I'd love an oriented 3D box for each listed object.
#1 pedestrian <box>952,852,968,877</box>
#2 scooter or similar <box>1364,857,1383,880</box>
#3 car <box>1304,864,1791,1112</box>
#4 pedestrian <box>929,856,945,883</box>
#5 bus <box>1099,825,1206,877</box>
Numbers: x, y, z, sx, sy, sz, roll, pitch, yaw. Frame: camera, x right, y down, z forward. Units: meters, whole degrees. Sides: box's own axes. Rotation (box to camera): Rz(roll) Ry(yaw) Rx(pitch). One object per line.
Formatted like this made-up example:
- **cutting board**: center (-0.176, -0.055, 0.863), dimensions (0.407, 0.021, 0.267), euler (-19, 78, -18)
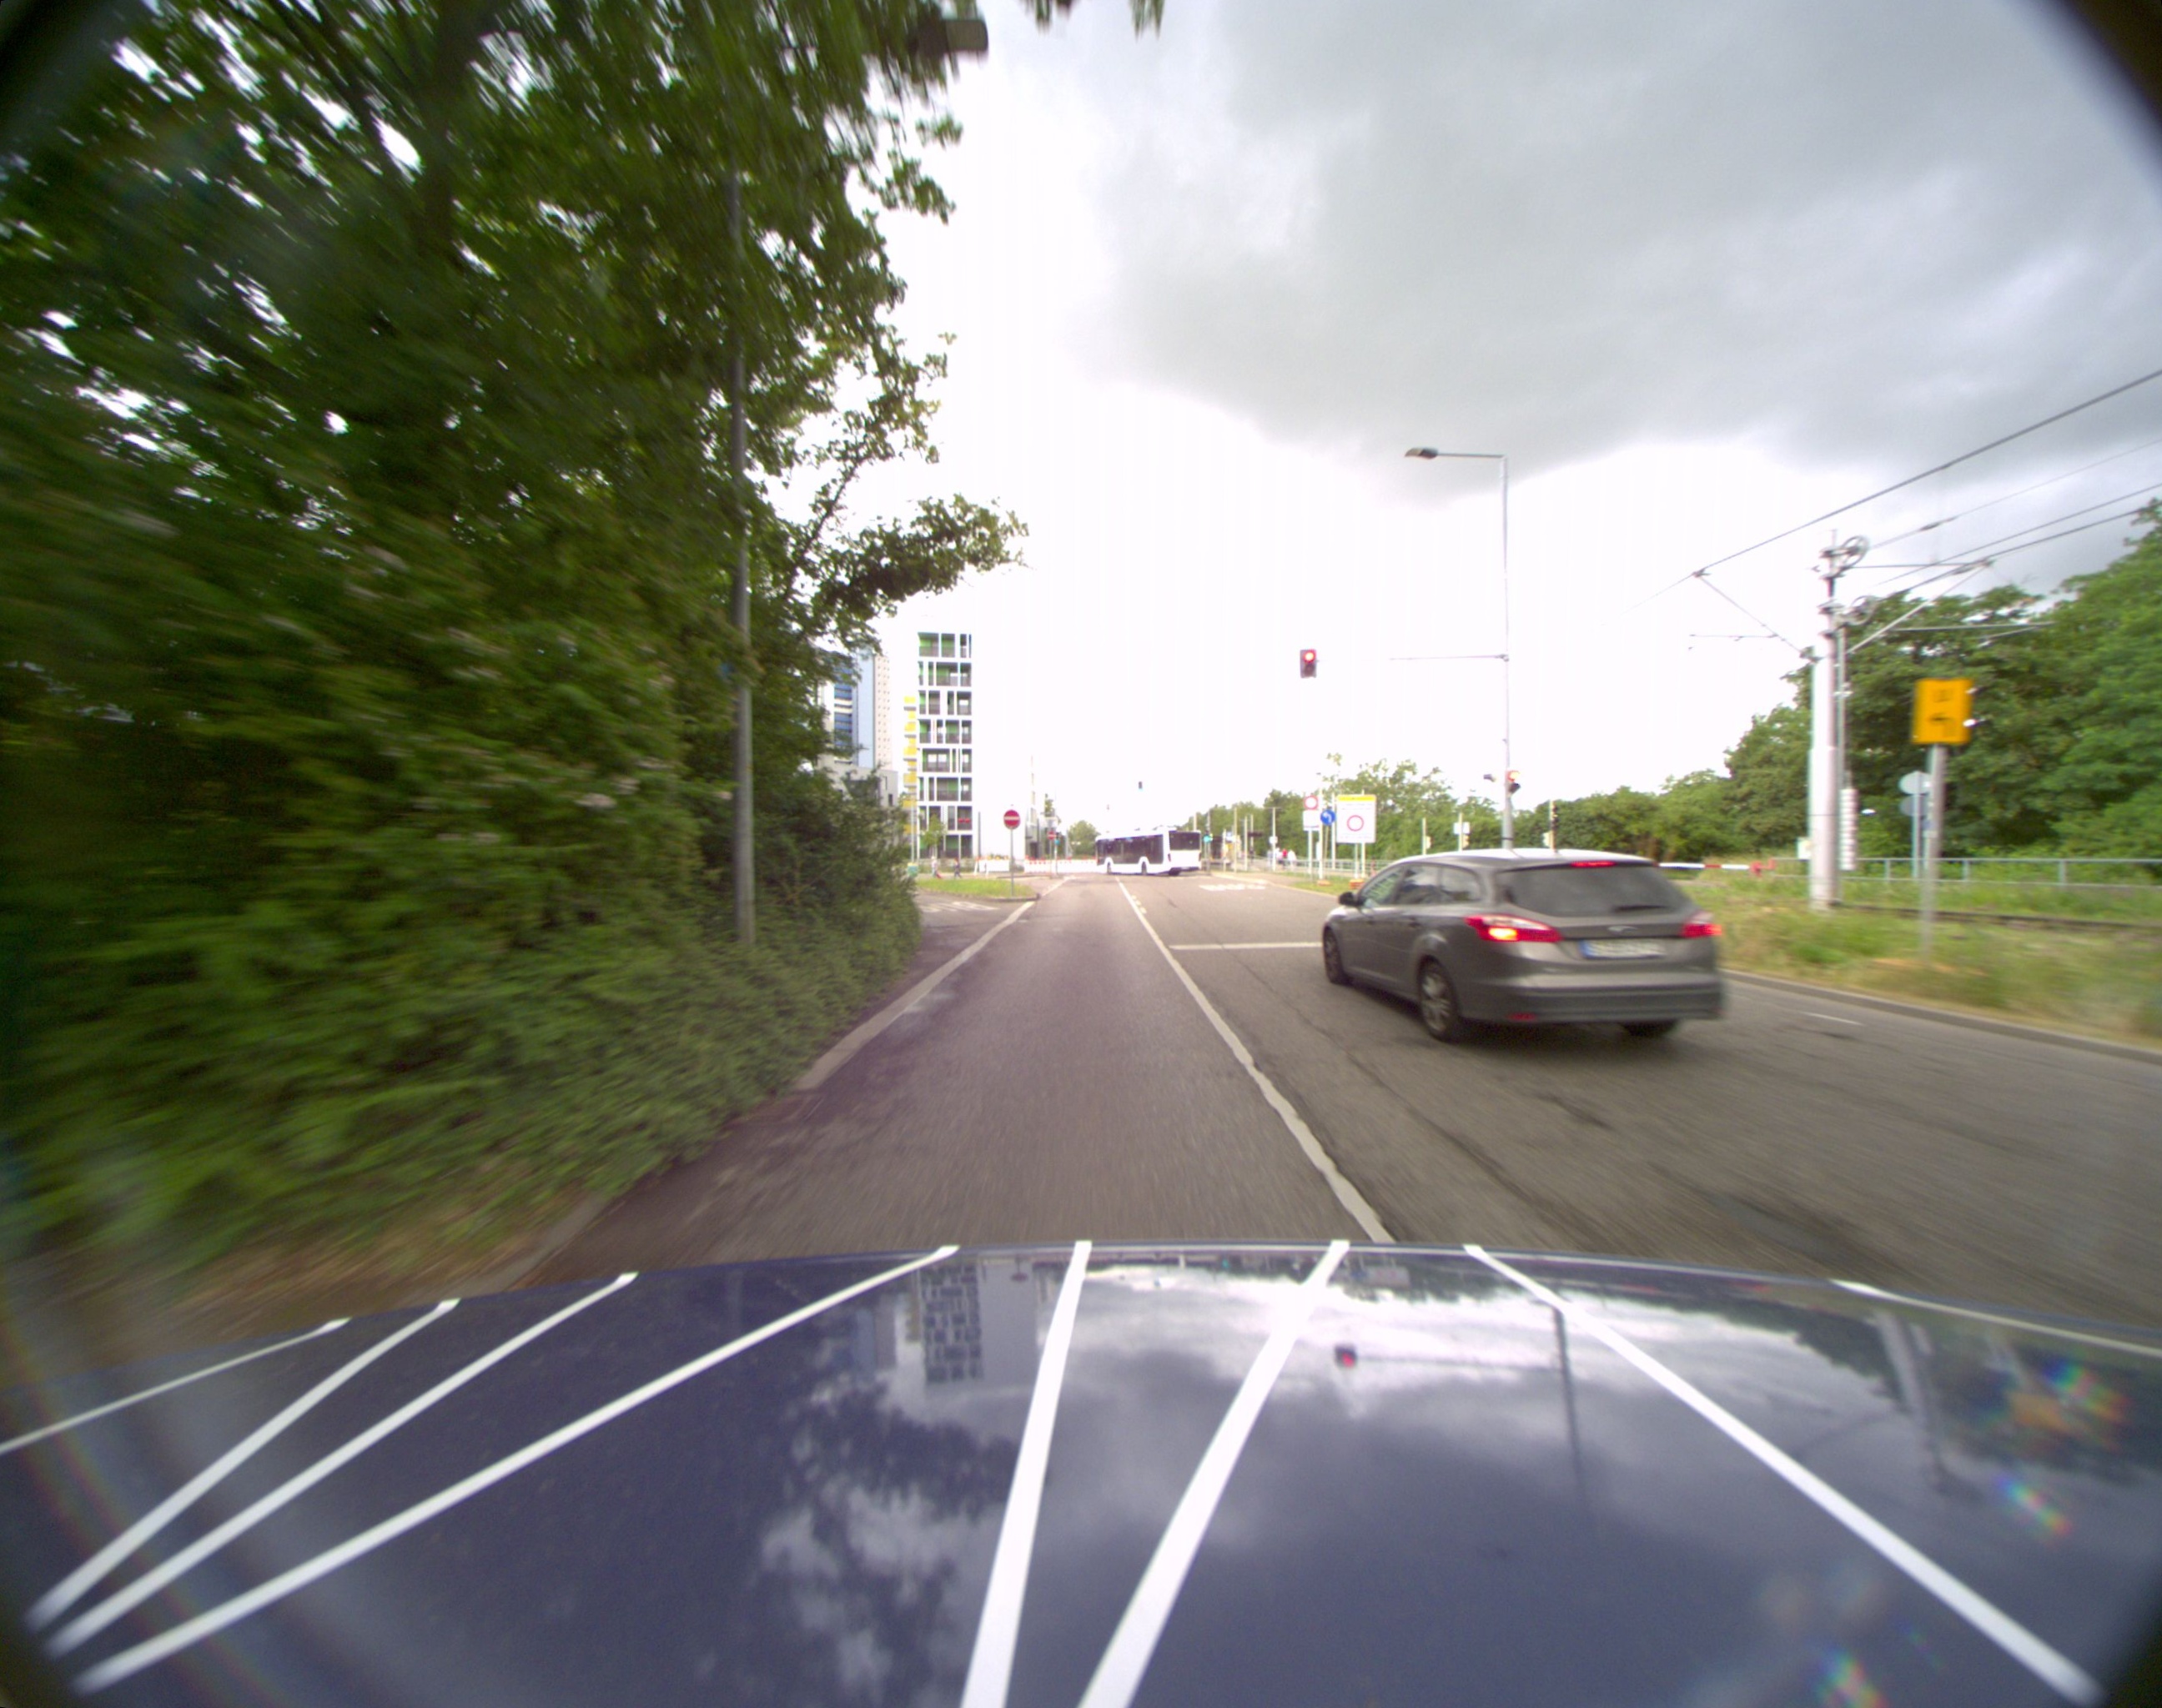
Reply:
- **pedestrian**: center (-7.809, 0.684, 48.979), dimensions (0.731, 1.558, 0.693), euler (0, 1, 20)
- **scooter or similar**: center (16.041, 0.797, 41.682), dimensions (0.412, 1.264, 1.268), euler (-1, 0, -10)
- **car**: center (3.582, 0.877, 6.990), dimensions (1.760, 1.426, 4.428), euler (-2, 0, 0)
- **pedestrian**: center (-9.056, 0.992, 47.728), dimensions (0.721, 1.625, 0.699), euler (3, 3, 17)
- **bus**: center (4.615, -0.218, 53.192), dimensions (2.677, 3.184, 12.178), euler (-1, 1, -19)
